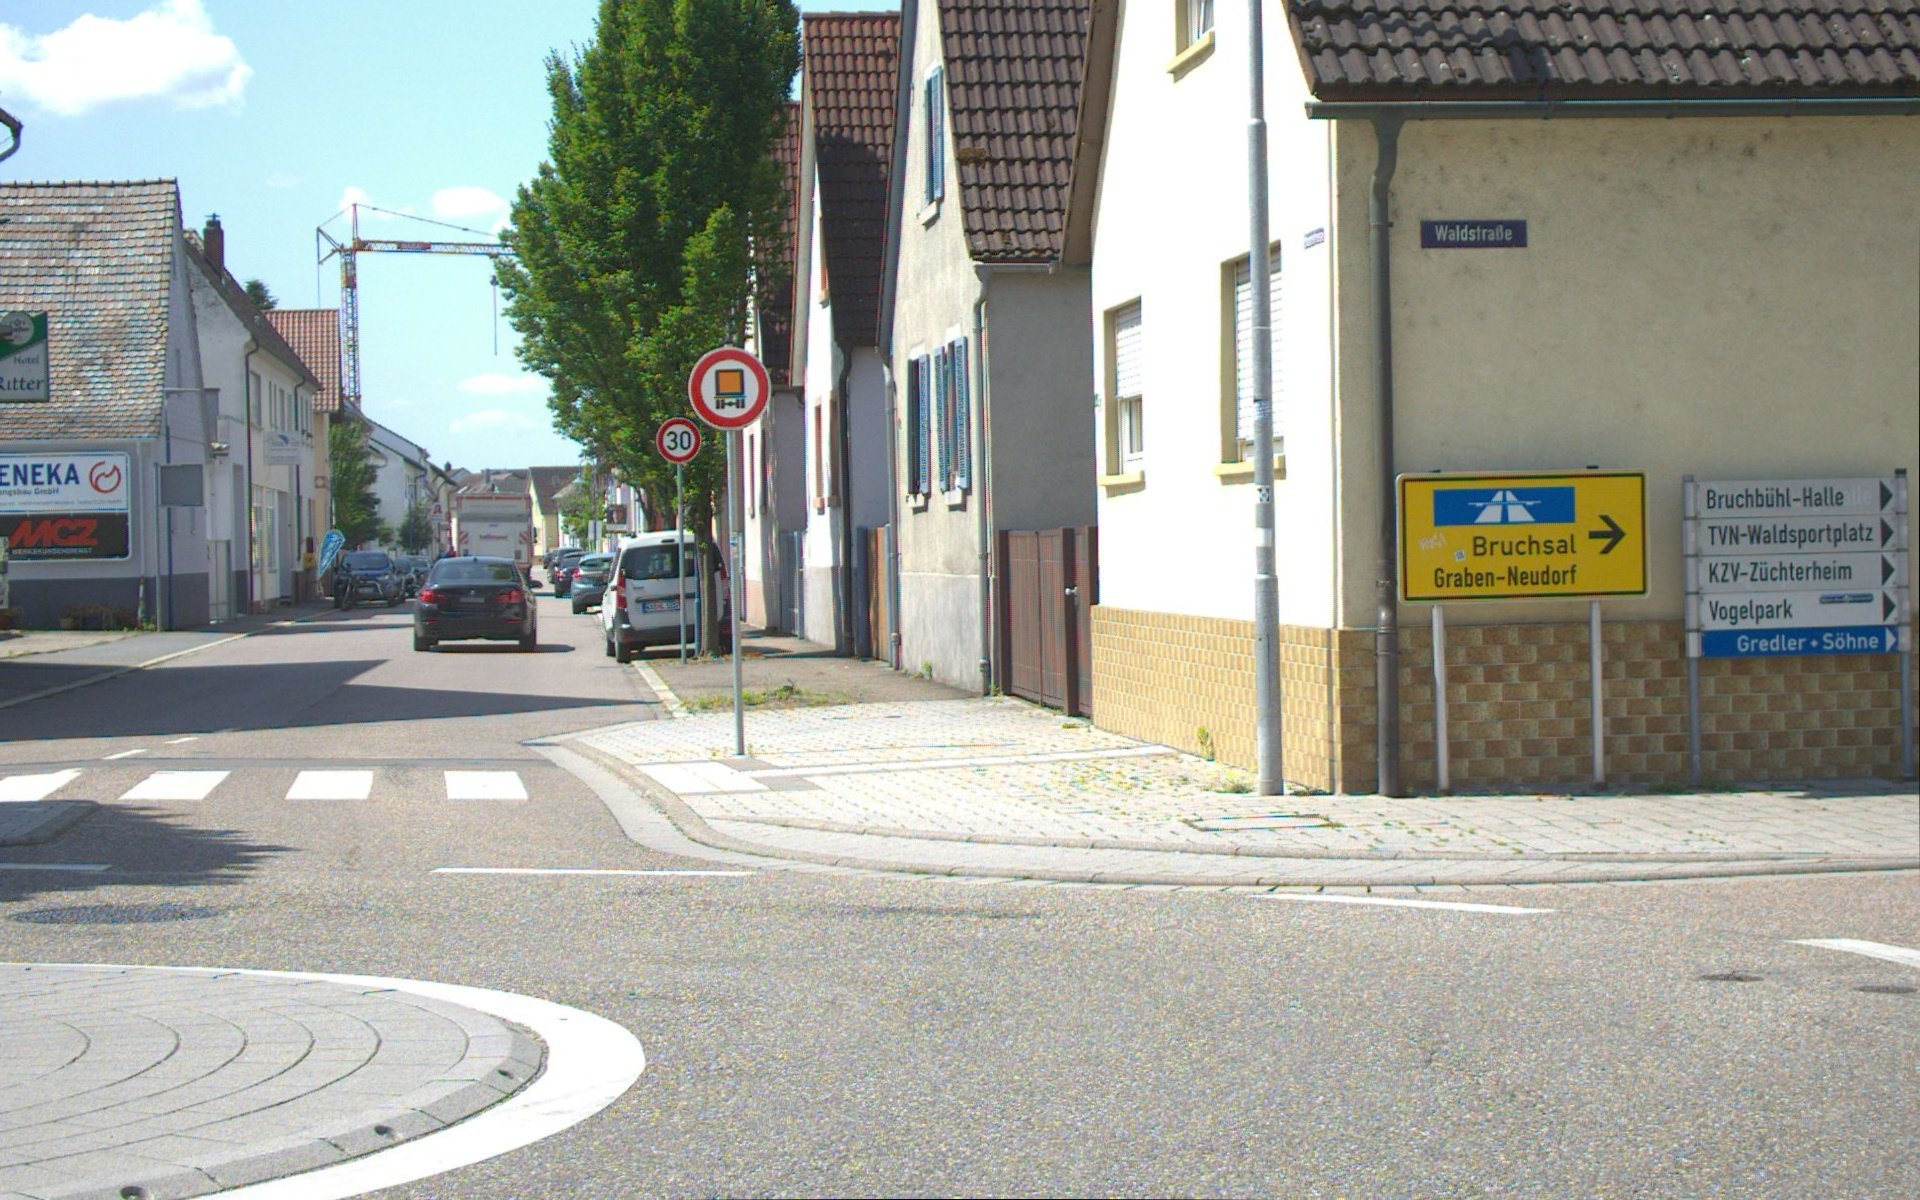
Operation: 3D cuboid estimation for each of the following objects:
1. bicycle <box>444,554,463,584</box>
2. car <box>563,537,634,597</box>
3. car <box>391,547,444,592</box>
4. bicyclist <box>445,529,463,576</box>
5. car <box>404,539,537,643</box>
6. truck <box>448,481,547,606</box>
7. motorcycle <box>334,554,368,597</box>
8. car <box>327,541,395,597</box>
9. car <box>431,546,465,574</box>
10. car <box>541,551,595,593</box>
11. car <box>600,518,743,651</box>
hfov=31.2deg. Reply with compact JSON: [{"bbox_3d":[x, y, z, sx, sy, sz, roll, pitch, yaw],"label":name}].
[{"bbox_3d":[-22.221,-1.350,150.869,0.751,1.303,2.686,1,0,-8],"label":"bicycle"},{"bbox_3d":[-9.047,-0.833,86.178,1.719,1.456,4.157,0,1,-5],"label":"car"},{"bbox_3d":[-19.682,-1.125,124.785,1.809,1.583,4.001,0,1,-8],"label":"car"},{"bbox_3d":[-22.199,-2.063,150.845,0.740,2.052,0.844,1,0,-8],"label":"bicyclist"},{"bbox_3d":[-7.728,-0.174,54.597,1.902,1.558,4.477,0,1,-6],"label":"car"},{"bbox_3d":[-16.459,-1.967,122.848,3.144,4.236,9.304,1,0,-6],"label":"truck"},{"bbox_3d":[-16.988,-0.675,95.914,0.846,1.166,2.470,1,0,-8],"label":"motorcycle"},{"bbox_3d":[-17.382,-0.922,99.876,1.809,1.583,4.001,0,1,-8],"label":"car"},{"bbox_3d":[-28.932,-2.280,194.338,1.809,1.583,4.001,0,1,-7],"label":"car"},{"bbox_3d":[-13.056,-0.942,114.391,1.719,1.350,4.157,0,1,-7],"label":"car"},{"bbox_3d":[-4.221,-0.252,49.900,1.719,1.784,4.145,-2,1,-9],"label":"car"}]
